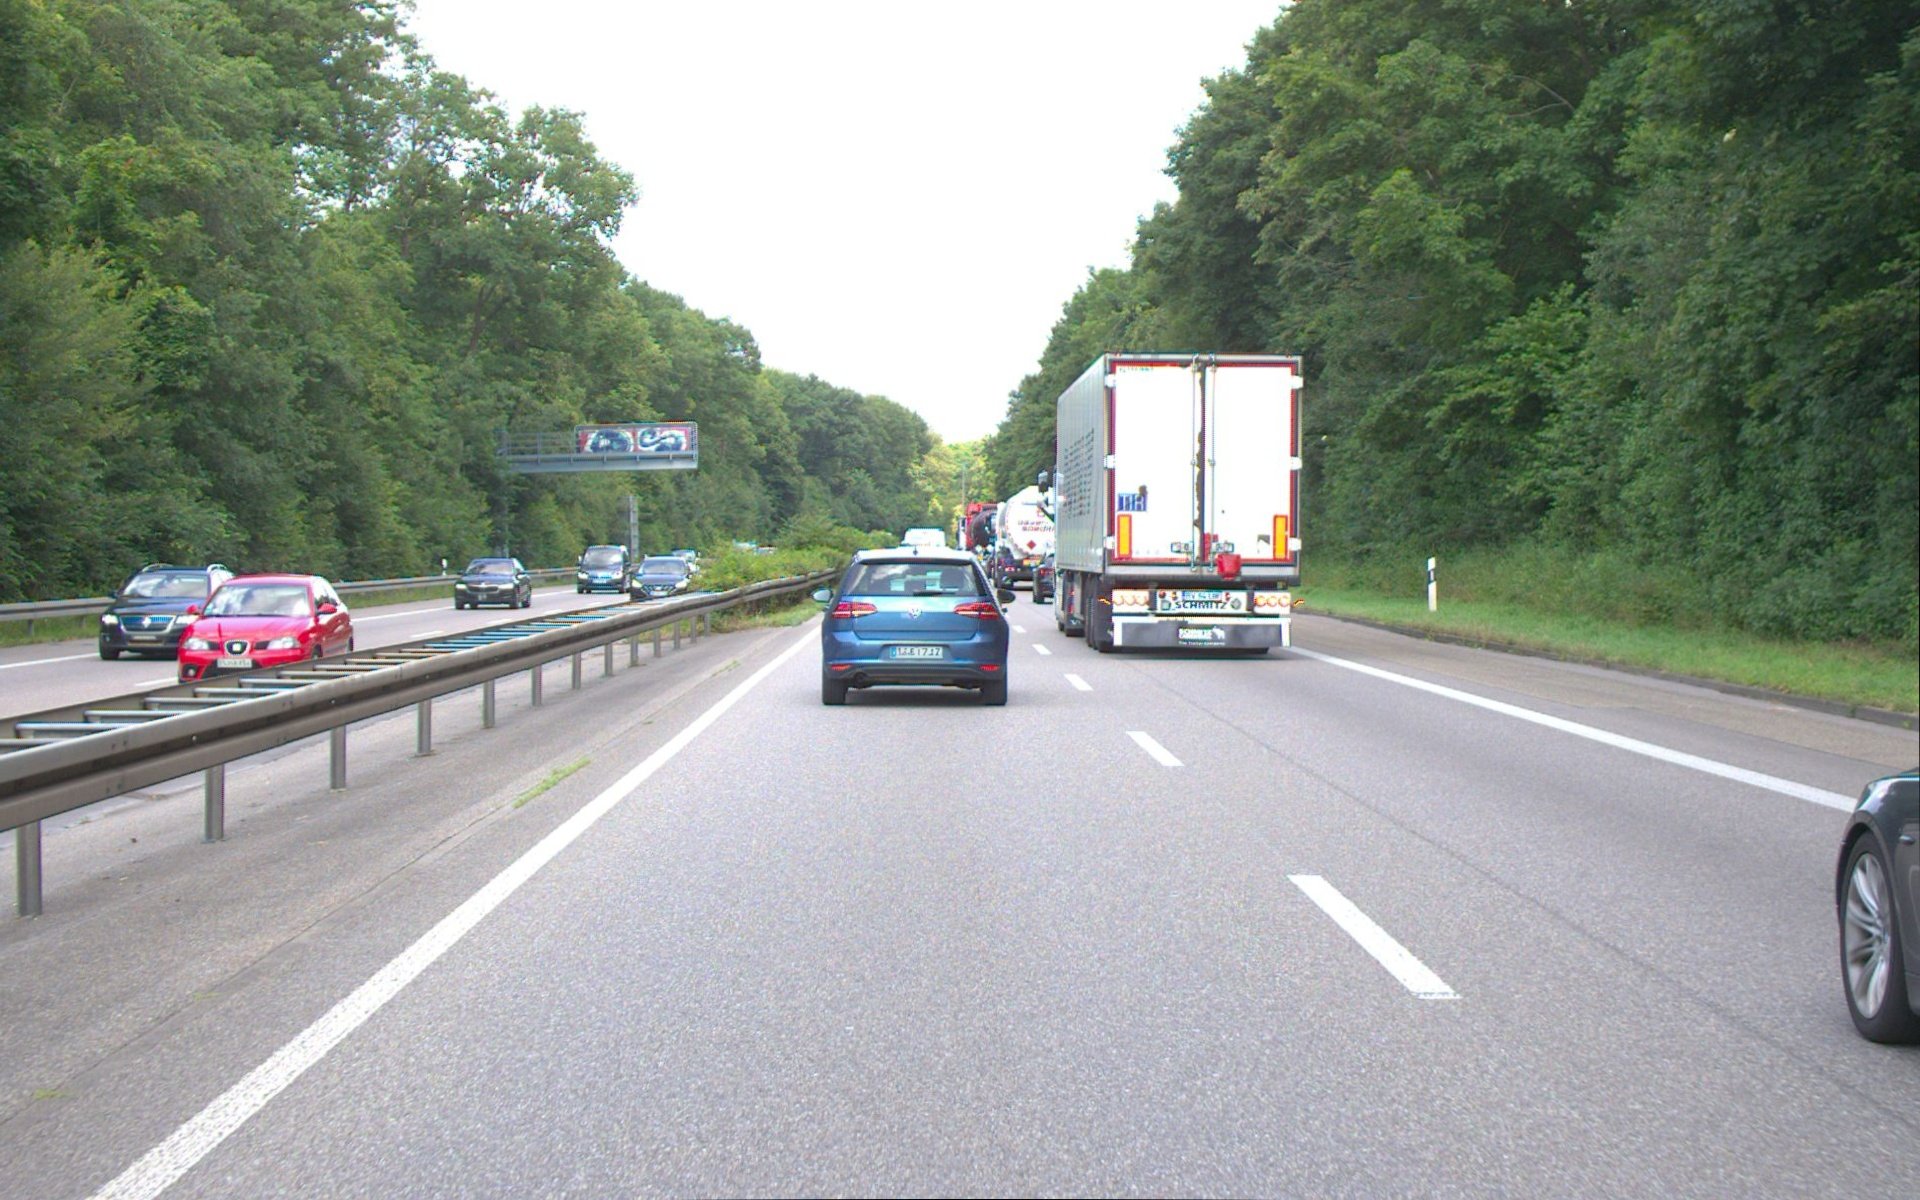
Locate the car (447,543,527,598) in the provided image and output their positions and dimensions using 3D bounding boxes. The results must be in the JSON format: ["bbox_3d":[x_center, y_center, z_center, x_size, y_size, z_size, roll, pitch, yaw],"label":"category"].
[{"bbox_3d":[-13.625,-0.880,99.226,1.680,1.514,4.859,-1,1,-1],"label":"car"}]

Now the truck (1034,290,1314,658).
[{"bbox_3d":[2.886,-1.750,49.916,3.242,4.700,11.007,-1,1,0],"label":"truck"}]

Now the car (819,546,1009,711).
[{"bbox_3d":[-0.446,0.226,33.055,1.705,1.465,4.000,0,1,-1],"label":"car"}]

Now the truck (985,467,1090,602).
[{"bbox_3d":[2.553,-2.185,117.681,3.232,4.371,12.971,0,0,0],"label":"truck"}]

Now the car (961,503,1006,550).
[{"bbox_3d":[1.179,-3.756,174.675,1.993,2.319,4.443,-1,1,-3],"label":"car"}]

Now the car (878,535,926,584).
[{"bbox_3d":[-2.476,-1.750,147.386,1.993,2.007,4.000,-1,1,-1],"label":"car"}]

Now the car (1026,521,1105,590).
[{"bbox_3d":[2.719,-1.165,89.161,1.888,1.723,4.000,-1,1,0],"label":"car"}]

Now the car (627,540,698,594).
[{"bbox_3d":[-8.845,-1.003,102.497,1.781,1.514,4.267,-1,1,-1],"label":"car"}]

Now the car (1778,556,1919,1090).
[{"bbox_3d":[3.566,0.645,8.661,1.774,1.470,4.881,0,1,-1],"label":"car"}]

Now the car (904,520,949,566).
[{"bbox_3d":[-1.681,-2.849,171.217,1.993,2.247,4.443,-1,1,-3],"label":"car"}]

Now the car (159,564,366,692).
[{"bbox_3d":[-8.505,0.305,42.244,1.678,1.449,4.128,0,1,0],"label":"car"}]

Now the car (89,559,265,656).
[{"bbox_3d":[-12.714,0.087,56.077,1.785,1.473,4.570,0,1,0],"label":"car"}]

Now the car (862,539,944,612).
[{"bbox_3d":[-1.176,-0.543,72.700,1.665,1.495,4.152,0,1,0],"label":"car"}]

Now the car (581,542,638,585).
[{"bbox_3d":[-13.244,-1.410,130.151,1.760,1.587,4.634,0,1,-1],"label":"car"}]
